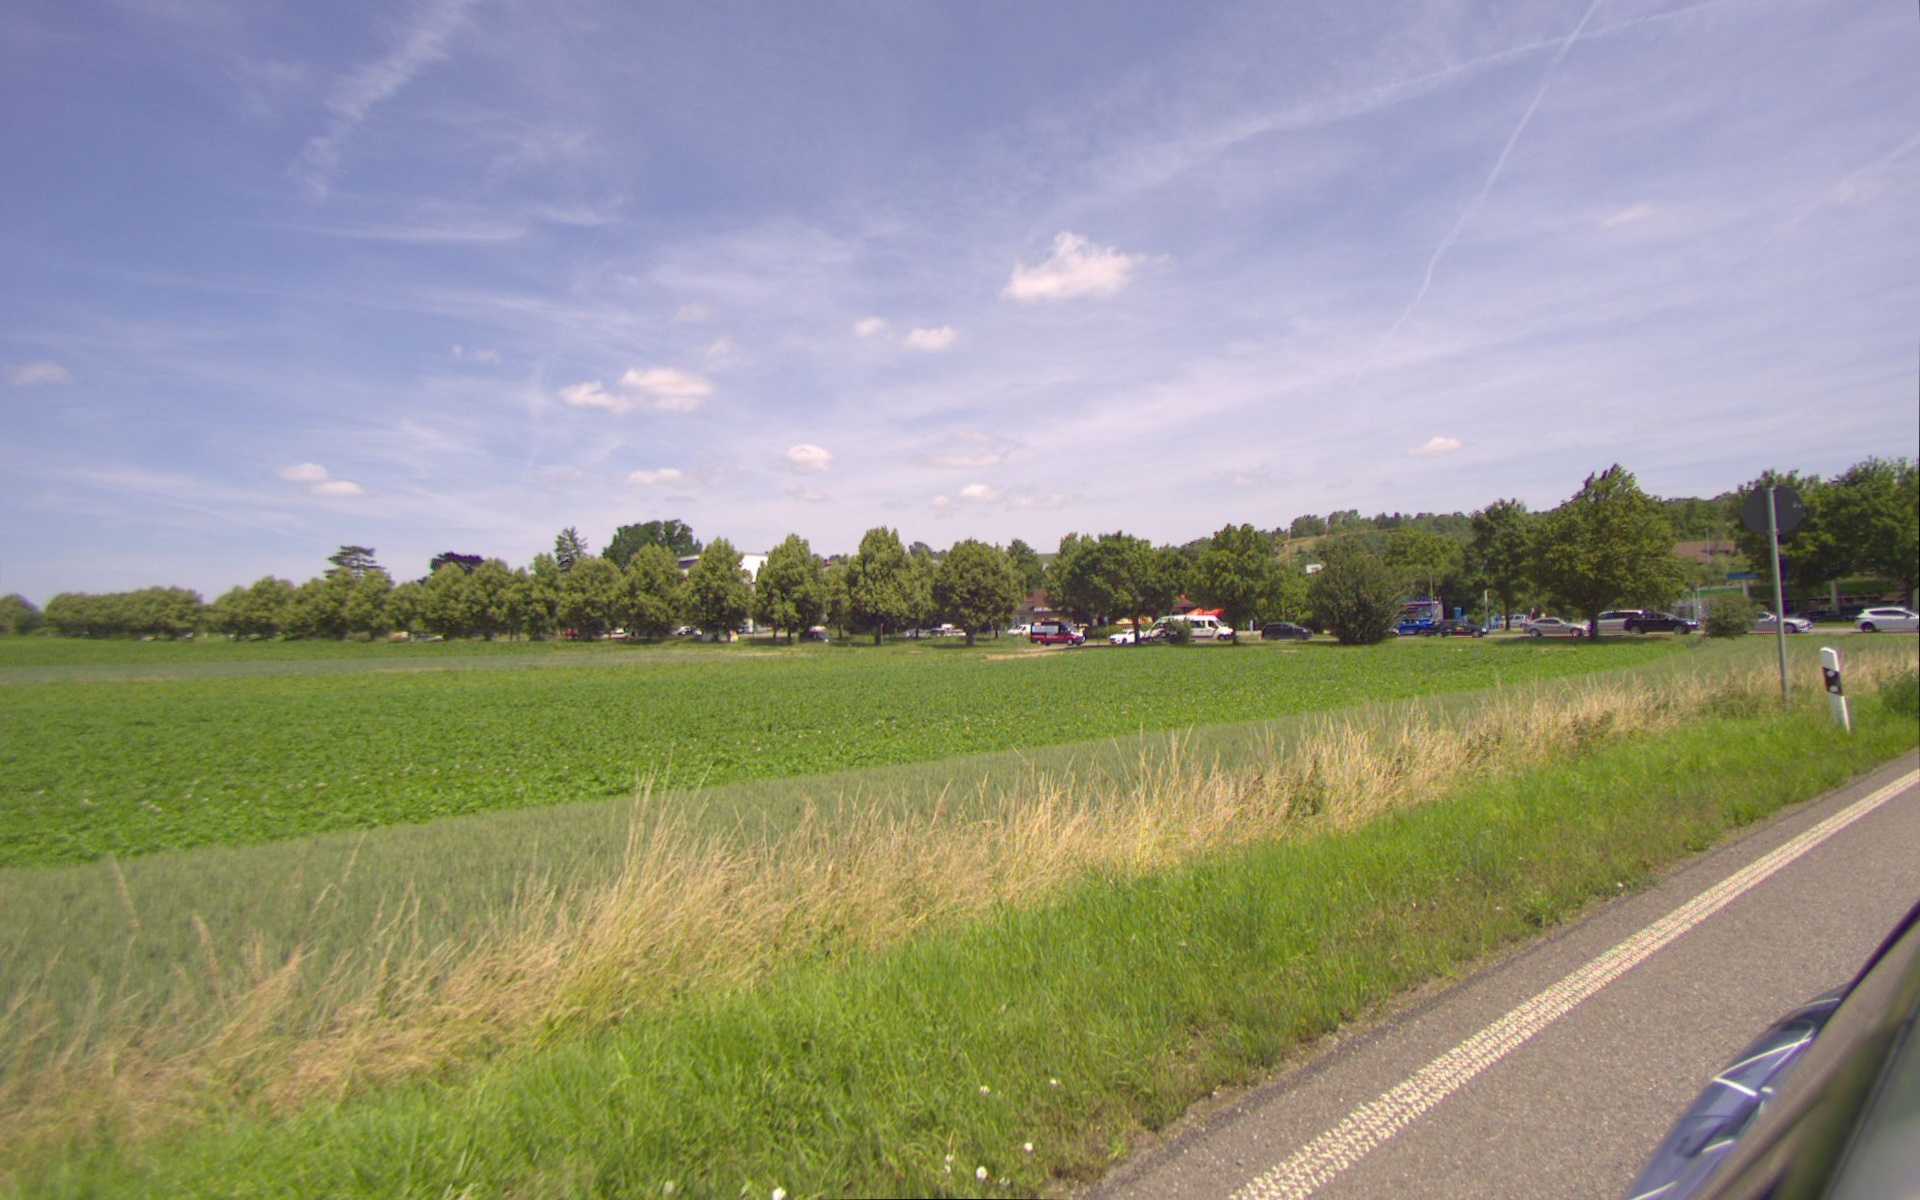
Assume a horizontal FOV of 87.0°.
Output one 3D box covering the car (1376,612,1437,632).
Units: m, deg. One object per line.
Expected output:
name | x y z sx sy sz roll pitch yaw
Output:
car | 37.377 1.891 84.756 4.367 1.579 1.758 -3 -3 40

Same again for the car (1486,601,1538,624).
car | 50.155 1.152 91.967 3.973 1.848 1.800 -3 -1 36

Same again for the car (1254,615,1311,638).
car | 28.078 2.310 88.029 4.265 1.719 1.974 -3 -1 37

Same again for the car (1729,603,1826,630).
car | 52.633 1.079 65.215 1.768 1.529 4.557 -2 -1 -37

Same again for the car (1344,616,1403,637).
car | 33.763 2.155 82.639 4.202 1.529 1.779 -3 -1 34

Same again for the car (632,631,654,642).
car | -54.807 6.338 174.938 3.978 1.650 1.720 -3 -1 39

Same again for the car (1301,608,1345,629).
car | 36.087 1.838 100.483 3.954 1.848 1.809 -3 -1 23

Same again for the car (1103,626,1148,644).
car | 17.345 3.653 106.088 4.413 1.579 1.878 -2 -1 -32

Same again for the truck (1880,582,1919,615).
truck | 81.277 -0.170 84.617 6.044 2.652 2.258 -2 -1 8

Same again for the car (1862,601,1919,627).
car | 55.946 0.839 59.410 1.766 1.437 4.108 -2 0 -31

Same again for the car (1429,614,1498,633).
car | 39.219 1.863 78.881 4.533 1.289 1.778 -3 -1 37

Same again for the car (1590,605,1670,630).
car | 49.287 1.287 74.485 1.833 1.713 4.523 -2 0 -37

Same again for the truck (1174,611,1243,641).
truck | 22.342 2.364 91.025 5.590 2.396 2.032 -3 -1 31

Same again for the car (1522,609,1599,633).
car | 44.090 1.575 74.360 4.542 1.529 1.774 -3 -1 42

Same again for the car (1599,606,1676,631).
car | 51.127 1.381 76.407 1.837 1.713 4.513 -2 0 -45

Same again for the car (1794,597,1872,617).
car | 69.849 0.536 81.028 4.269 1.380 1.747 -3 -1 22

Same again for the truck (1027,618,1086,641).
truck | 9.415 2.874 98.719 5.430 2.001 1.781 -3 -1 31

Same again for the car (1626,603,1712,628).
car | 48.468 1.078 69.241 1.771 1.529 4.551 -4 1 -42

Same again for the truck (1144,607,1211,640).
truck | 20.900 2.283 97.276 5.905 2.771 2.047 -4 0 36
